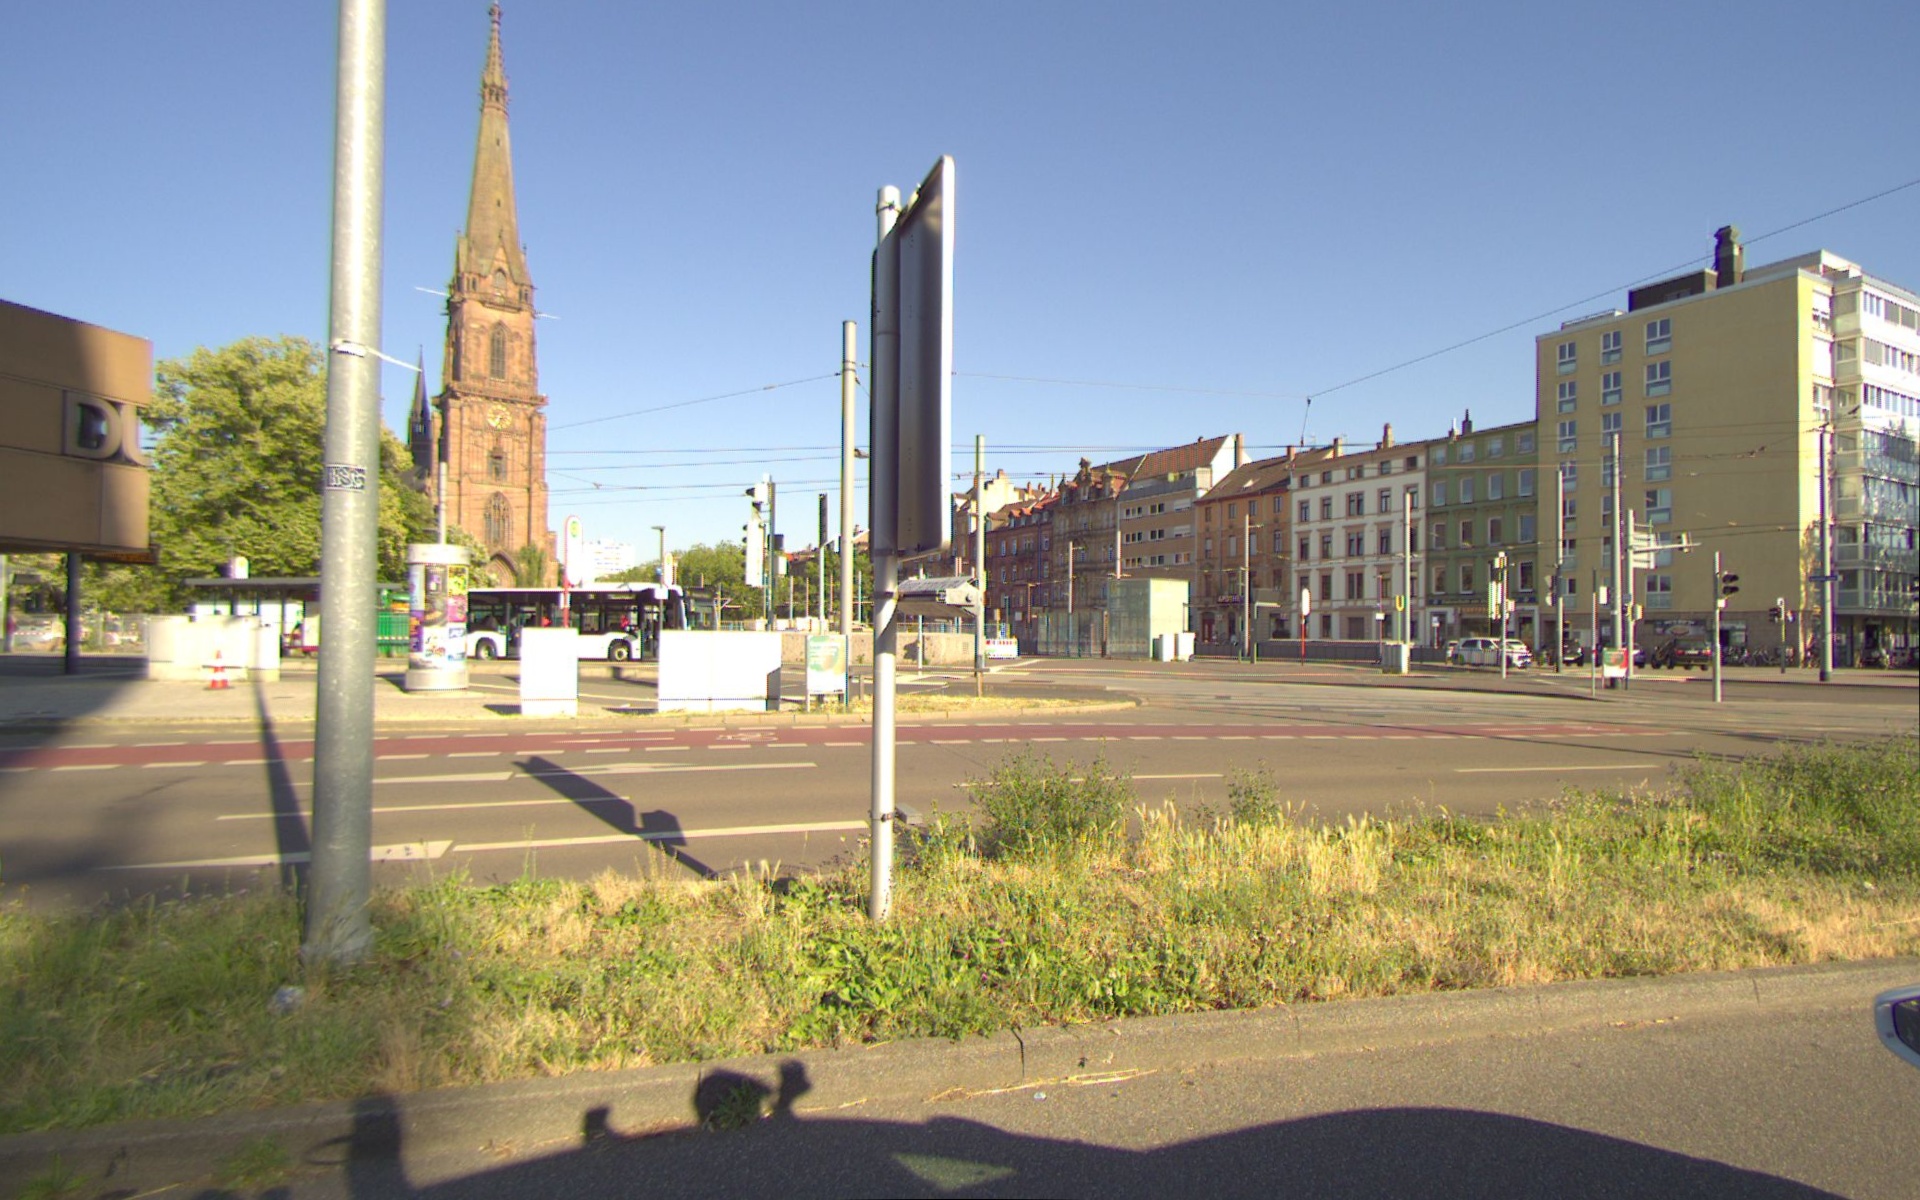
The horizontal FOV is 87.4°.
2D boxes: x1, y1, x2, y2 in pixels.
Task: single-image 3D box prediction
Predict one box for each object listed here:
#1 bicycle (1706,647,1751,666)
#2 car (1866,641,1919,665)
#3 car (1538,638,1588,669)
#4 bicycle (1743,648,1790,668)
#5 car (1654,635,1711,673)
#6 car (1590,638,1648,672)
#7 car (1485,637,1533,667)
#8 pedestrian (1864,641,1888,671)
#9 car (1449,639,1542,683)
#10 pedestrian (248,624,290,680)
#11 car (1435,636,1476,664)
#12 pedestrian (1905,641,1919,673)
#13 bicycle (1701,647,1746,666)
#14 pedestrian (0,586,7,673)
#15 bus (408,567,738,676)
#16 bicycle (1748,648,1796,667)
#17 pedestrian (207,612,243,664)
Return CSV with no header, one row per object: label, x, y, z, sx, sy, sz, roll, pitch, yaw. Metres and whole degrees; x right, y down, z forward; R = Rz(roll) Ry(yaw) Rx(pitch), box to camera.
bicycle,46.756,3.408,61.119,0.768,1.104,2.033,2,-2,-29
car,59.658,3.338,62.915,1.793,1.441,3.965,2,-2,-32
car,36.577,3.222,61.026,1.803,1.742,4.000,-1,-1,20
bicycle,47.121,3.379,58.714,0.768,1.104,2.033,2,-2,-29
car,39.737,2.937,55.352,1.818,1.882,3.996,-1,-1,25
car,38.127,3.158,58.196,1.803,1.771,4.001,-1,-1,18
car,35.045,3.276,64.231,2.046,1.742,4.010,-1,-1,20
pedestrian,51.736,3.147,56.716,0.773,1.698,0.773,2,-2,-28
car,27.313,3.091,51.349,1.976,2.040,3.717,0,-1,-30
pedestrian,-24.901,1.878,36.232,0.704,2.007,0.981,-1,-2,17
car,33.335,3.334,67.693,2.046,1.742,4.010,-1,-1,20
pedestrian,52.525,3.120,55.116,0.773,1.698,0.773,2,-2,-28
bicycle,46.055,3.412,60.608,0.768,1.104,2.033,2,-2,-29
pedestrian,-22.406,0.662,22.708,0.704,2.007,0.981,-1,-2,15
bus,-14.788,0.828,38.434,11.942,3.359,3.254,3,-4,15
bicycle,47.821,3.374,59.183,0.768,1.104,2.033,2,-2,-29
pedestrian,-28.419,1.475,38.837,0.740,2.007,0.817,-1,-2,17
